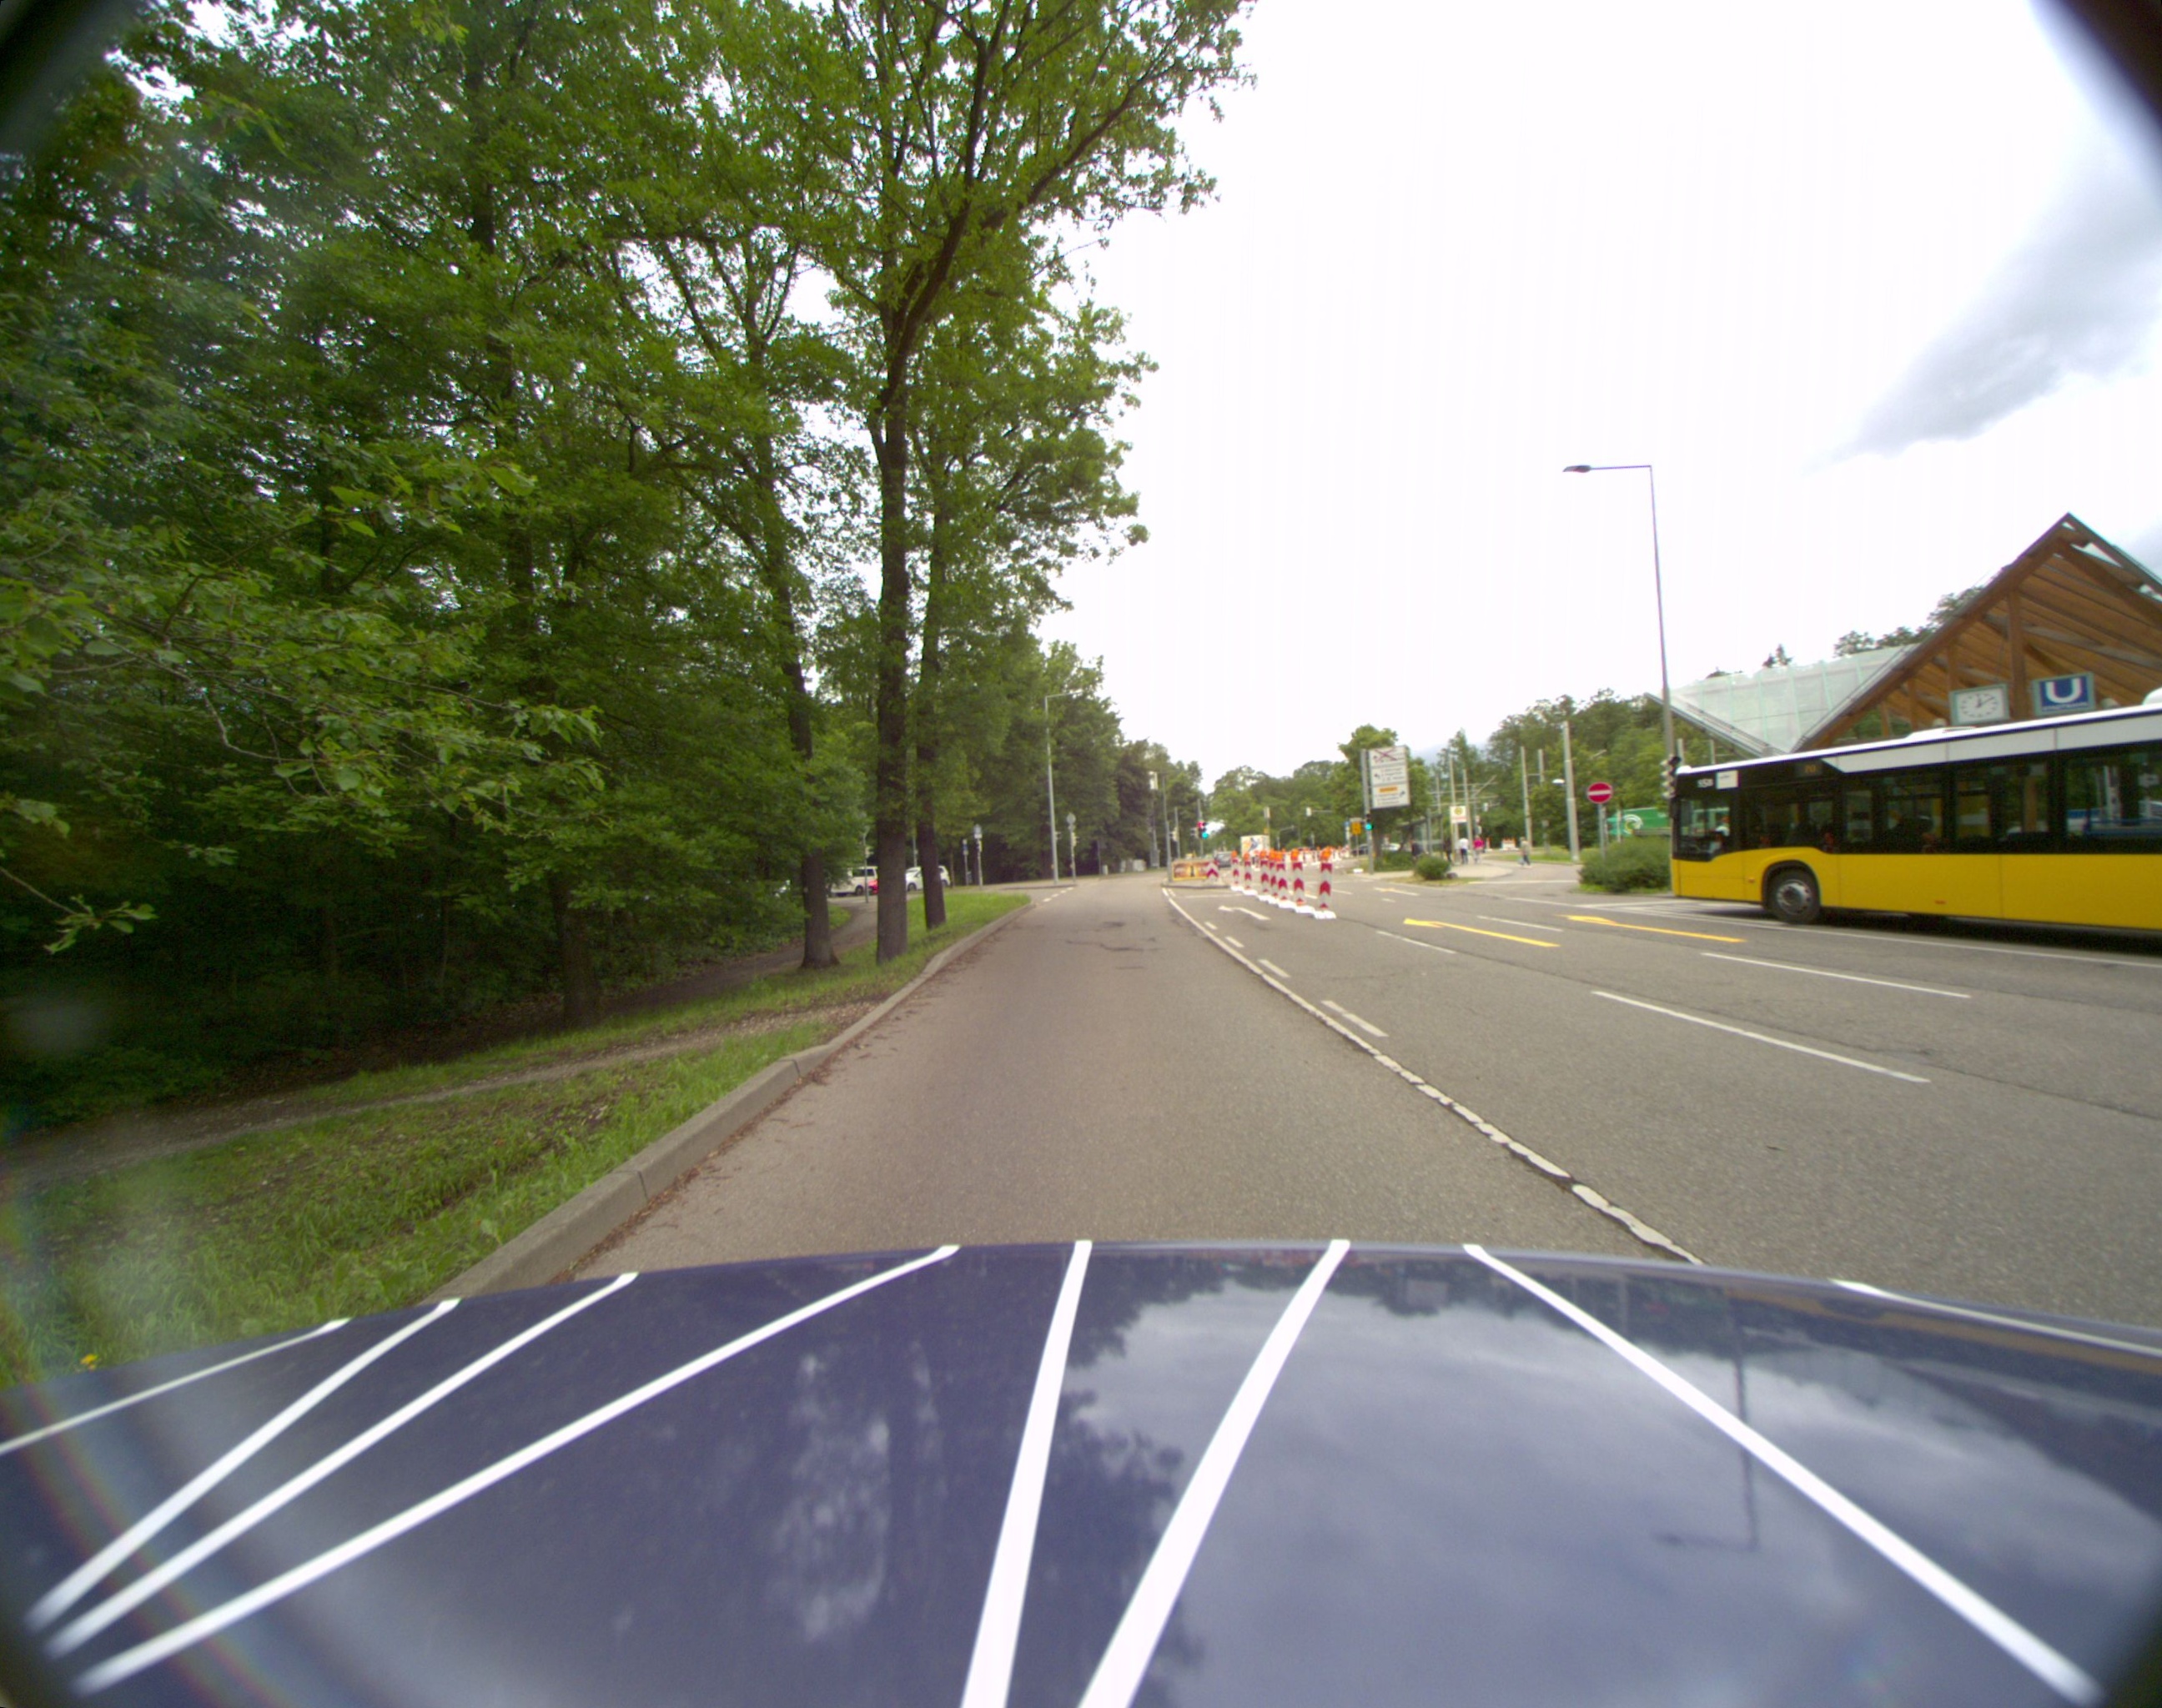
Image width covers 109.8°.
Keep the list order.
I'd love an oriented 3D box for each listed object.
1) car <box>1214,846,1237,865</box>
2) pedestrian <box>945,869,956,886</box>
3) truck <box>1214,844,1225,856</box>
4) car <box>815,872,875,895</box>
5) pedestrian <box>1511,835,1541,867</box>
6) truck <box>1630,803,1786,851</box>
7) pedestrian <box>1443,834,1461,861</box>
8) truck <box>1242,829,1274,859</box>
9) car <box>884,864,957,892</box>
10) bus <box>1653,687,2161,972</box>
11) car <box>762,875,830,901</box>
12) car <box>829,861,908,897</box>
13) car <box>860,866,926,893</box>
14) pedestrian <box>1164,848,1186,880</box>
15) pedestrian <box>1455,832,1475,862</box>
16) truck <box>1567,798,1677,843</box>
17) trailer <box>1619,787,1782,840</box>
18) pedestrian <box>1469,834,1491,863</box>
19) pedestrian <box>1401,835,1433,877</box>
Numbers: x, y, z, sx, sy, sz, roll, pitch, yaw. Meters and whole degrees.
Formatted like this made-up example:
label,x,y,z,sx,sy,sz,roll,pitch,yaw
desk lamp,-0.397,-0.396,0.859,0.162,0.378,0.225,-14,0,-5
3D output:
label,x,y,z,sx,sy,sz,roll,pitch,yaw
car,12.664,0.134,66.853,1.811,1.500,4.310,-2,1,9
pedestrian,-13.483,2.407,78.674,0.833,1.641,1.035,-4,0,-3
truck,42.291,-1.191,232.159,2.743,3.192,6.680,-5,-1,14
car,-16.943,2.086,54.796,1.717,1.320,3.942,-5,-1,29
pedestrian,22.258,-0.143,38.004,0.768,1.516,0.874,-4,0,-18
truck,35.281,-1.454,43.079,2.609,2.157,6.295,-4,-1,-17
pedestrian,22.140,-0.404,45.369,0.775,1.537,0.629,-5,1,13
truck,20.160,-1.081,86.294,2.631,3.219,6.215,-1,0,21
car,-10.602,1.562,50.488,1.995,1.542,4.429,-5,-1,35
bus,13.254,-0.326,10.753,2.906,3.109,9.759,-2,0,0
car,-21.260,2.528,56.819,1.839,1.548,4.540,-5,-1,28
car,-14.851,1.704,53.365,2.058,1.946,5.191,-5,1,31
car,-12.778,1.707,51.796,1.890,1.542,4.007,-5,-1,35
pedestrian,5.149,0.540,41.616,1.092,1.666,0.911,-3,1,9
pedestrian,22.286,-0.418,44.107,0.684,1.655,0.871,-4,0,8
truck,57.025,-3.463,80.423,3.791,3.858,8.761,-4,-1,-18
trailer,59.304,-3.739,73.383,3.791,3.858,11.854,-4,-1,-18
pedestrian,22.281,-0.325,42.456,0.791,1.542,0.776,-5,0,11
pedestrian,15.066,0.075,34.071,0.767,1.798,0.992,-4,0,-41
